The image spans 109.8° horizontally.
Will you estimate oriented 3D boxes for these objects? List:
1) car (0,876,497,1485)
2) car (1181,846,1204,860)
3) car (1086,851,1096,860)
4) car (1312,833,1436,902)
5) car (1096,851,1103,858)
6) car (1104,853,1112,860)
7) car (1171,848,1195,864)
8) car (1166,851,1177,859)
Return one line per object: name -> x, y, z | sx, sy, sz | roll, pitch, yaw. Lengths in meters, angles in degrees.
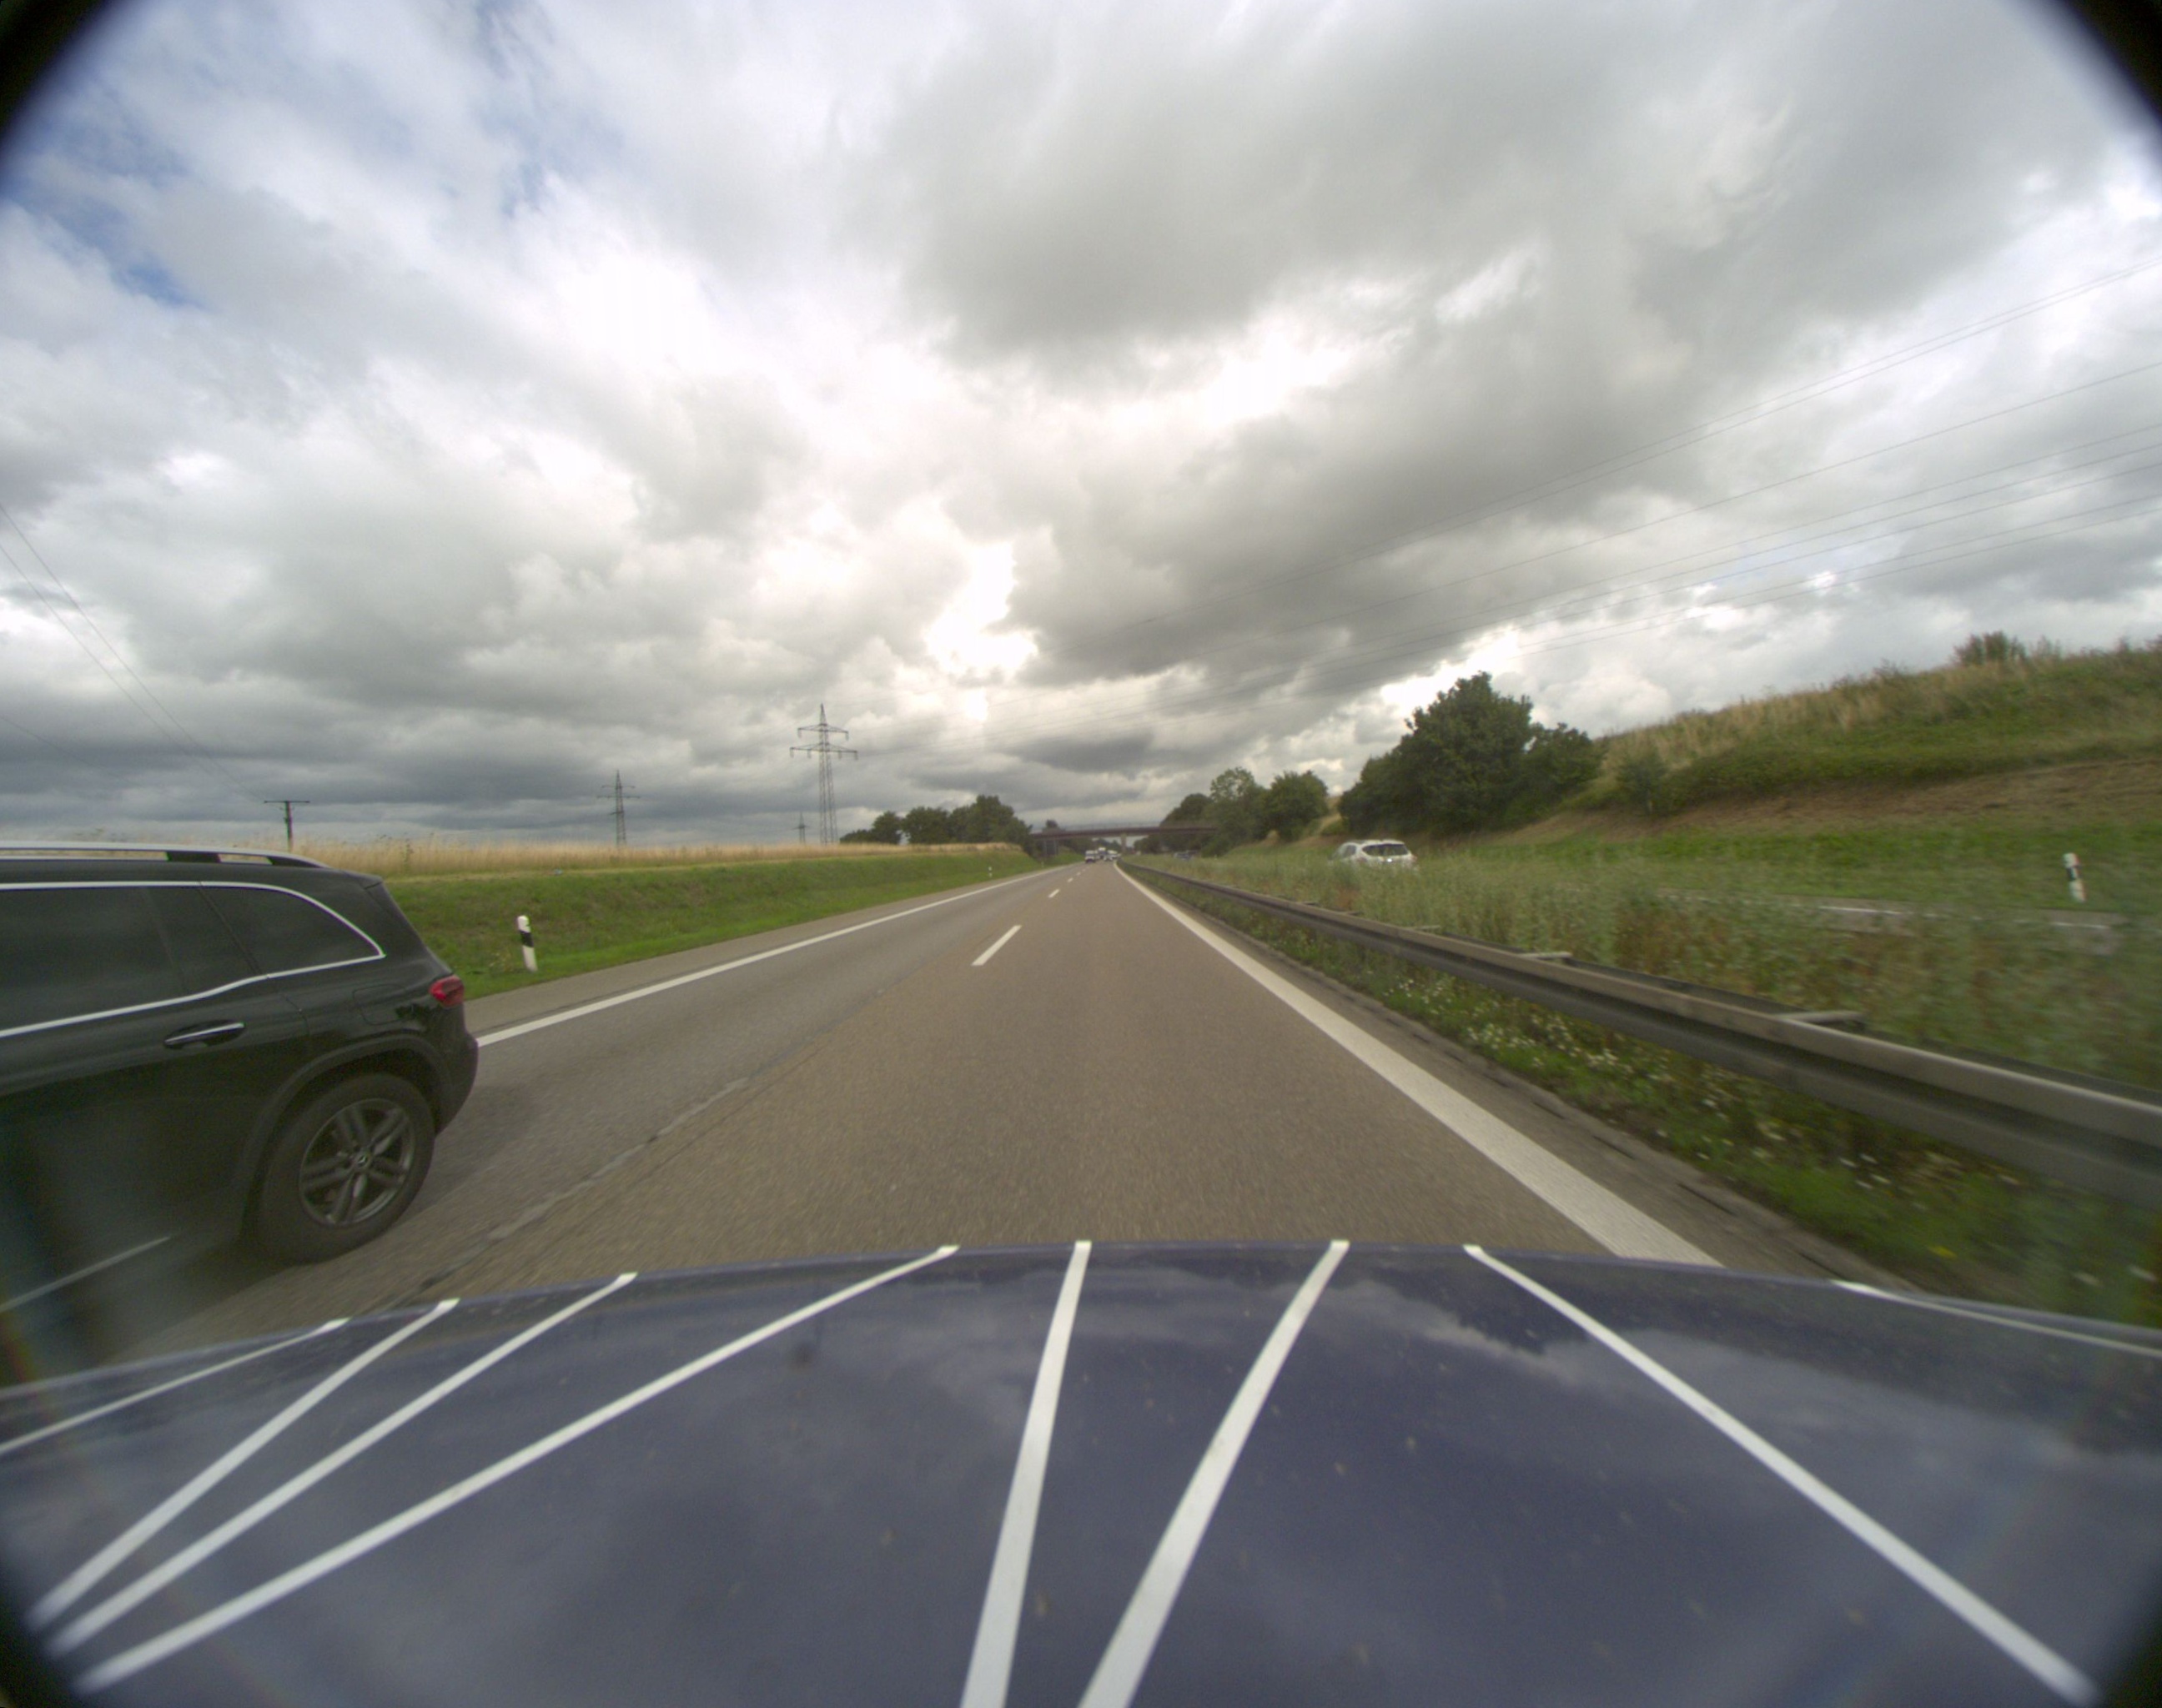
car -> -3.914, 0.962, 1.624 | 1.838, 1.600, 4.360 | -2, 1, 1
car -> 14.208, -0.169, 96.909 | 1.933, 1.566, 5.621 | -2, 1, -1
car -> 2.074, 0.327, 162.788 | 1.998, 1.812, 4.342 | -2, 0, 0
car -> 8.411, 0.342, 22.226 | 1.998, 1.674, 4.000 | -5, 1, 1
car -> 5.121, 0.134, 210.664 | 1.833, 1.849, 5.790 | -1, 0, 0
car -> 6.641, 0.633, 187.398 | 1.998, 1.695, 4.662 | -4, -1, 1
car -> 10.689, 0.195, 80.079 | 1.998, 1.448, 4.443 | -2, 1, 1
car -> 17.397, 0.130, 146.092 | 1.750, 1.445, 4.000 | -2, 1, 1
